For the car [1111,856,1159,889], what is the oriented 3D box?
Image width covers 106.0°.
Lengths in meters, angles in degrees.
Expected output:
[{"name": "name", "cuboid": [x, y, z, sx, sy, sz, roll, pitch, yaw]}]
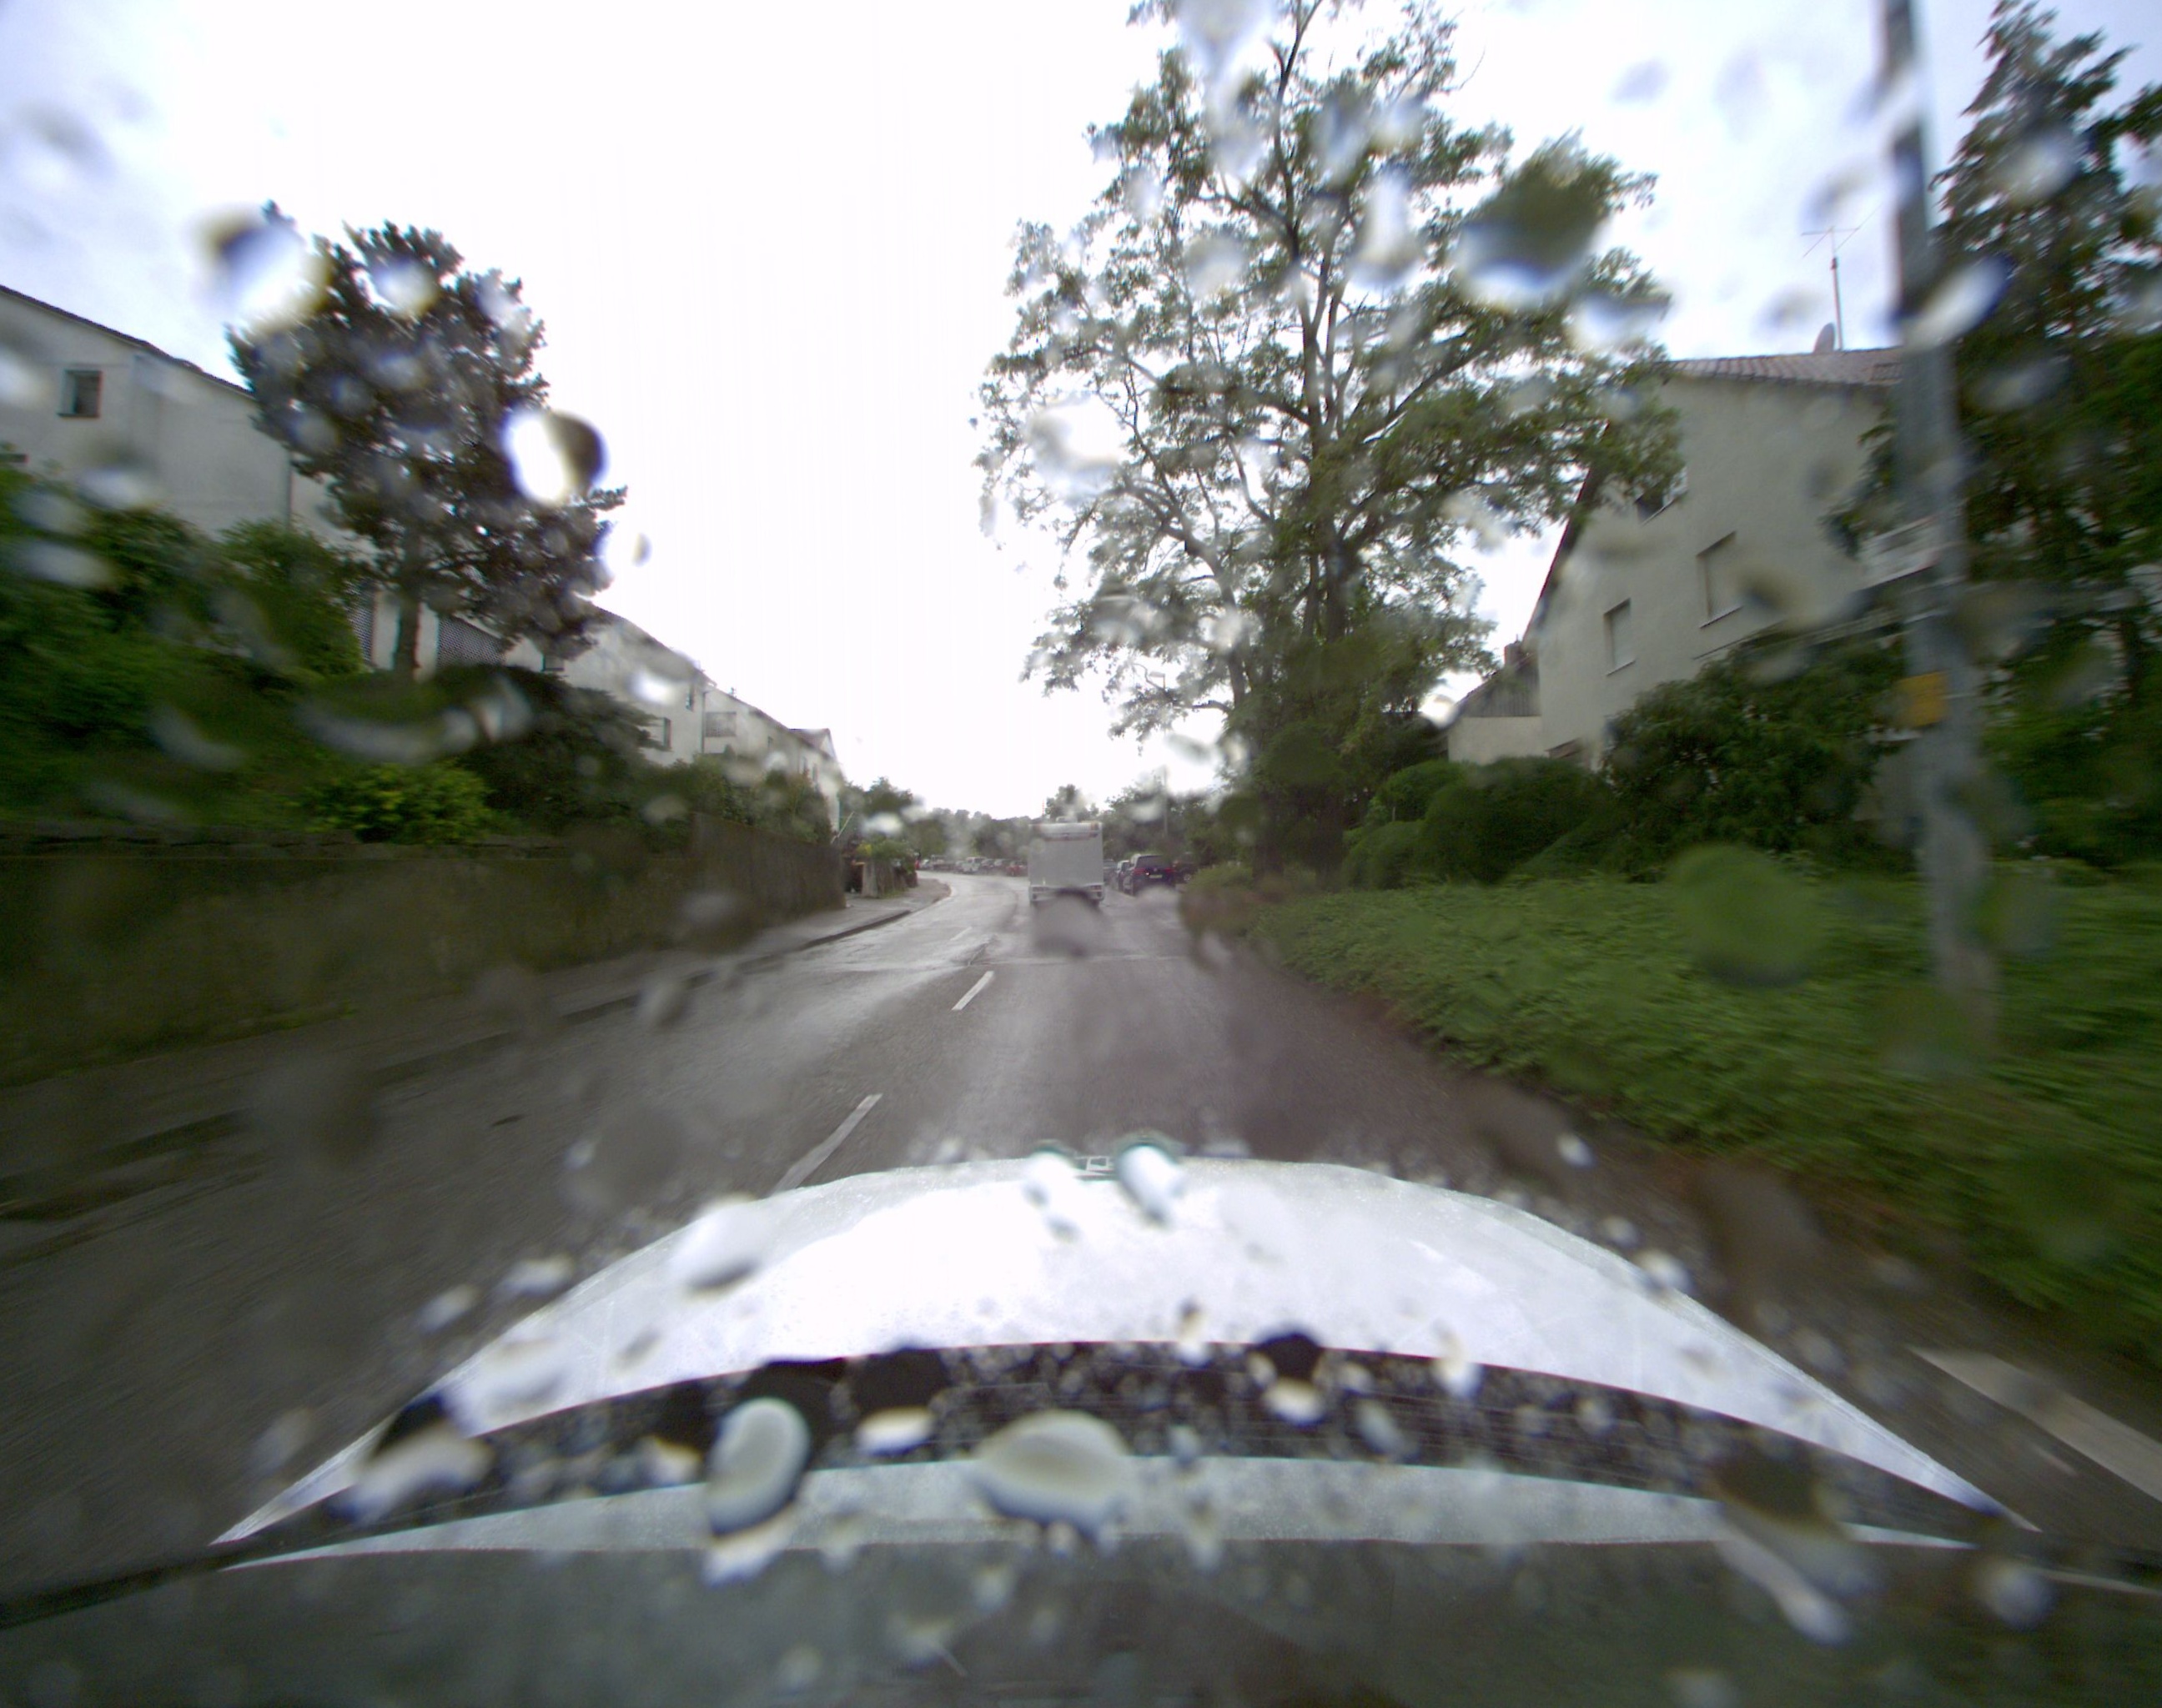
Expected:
[{"name": "car", "cuboid": [2.551, 0.848, 39.266, 1.851, 1.517, 3.995, 0, 0, -3]}]

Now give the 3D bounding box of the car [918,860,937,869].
[{"name": "car", "cuboid": [-21.647, 1.550, 114.726, 1.653, 1.101, 3.967, 4, -3, -24]}]

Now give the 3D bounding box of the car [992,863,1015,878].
[{"name": "car", "cuboid": [-7.689, 1.613, 80.671, 1.543, 1.327, 3.976, 3, -3, -17]}]

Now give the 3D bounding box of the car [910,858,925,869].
[{"name": "car", "cuboid": [-24.420, 1.369, 121.454, 1.522, 1.677, 3.552, 0, -1, -24]}]

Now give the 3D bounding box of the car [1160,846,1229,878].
[{"name": "car", "cuboid": [6.599, 0.496, 47.539, 3.615, 1.664, 1.997, 3, -3, -3]}]

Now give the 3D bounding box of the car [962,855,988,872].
[{"name": "car", "cuboid": [-11.887, 1.087, 91.152, 1.653, 1.721, 3.967, 4, -3, -24]}]

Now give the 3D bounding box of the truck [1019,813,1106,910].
[{"name": "truck", "cuboid": [-0.745, 0.237, 27.074, 2.510, 2.817, 6.192, -1, 0, -4]}]

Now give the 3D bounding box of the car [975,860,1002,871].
[{"name": "car", "cuboid": [-9.817, 1.245, 86.389, 1.653, 1.101, 3.967, 4, -3, -24]}]

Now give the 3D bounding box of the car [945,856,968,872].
[{"name": "car", "cuboid": [-14.773, 1.237, 96.559, 1.653, 1.721, 3.967, 4, -3, -24]}]

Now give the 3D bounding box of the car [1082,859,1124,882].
[{"name": "car", "cuboid": [1.283, 0.970, 48.468, 1.542, 1.326, 3.982, 0, 0, -13]}]

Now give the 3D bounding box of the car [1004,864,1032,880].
[{"name": "car", "cuboid": [-5.917, 1.686, 76.111, 1.545, 1.327, 3.837, 4, -3, -21]}]

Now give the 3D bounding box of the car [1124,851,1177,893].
[{"name": "car", "cuboid": [2.802, 0.705, 33.572, 1.986, 1.640, 4.001, 0, 0, 2]}]

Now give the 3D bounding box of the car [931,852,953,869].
[{"name": "car", "cuboid": [-18.376, 0.863, 107.740, 1.748, 2.044, 4.477, 4, -3, -24]}]
